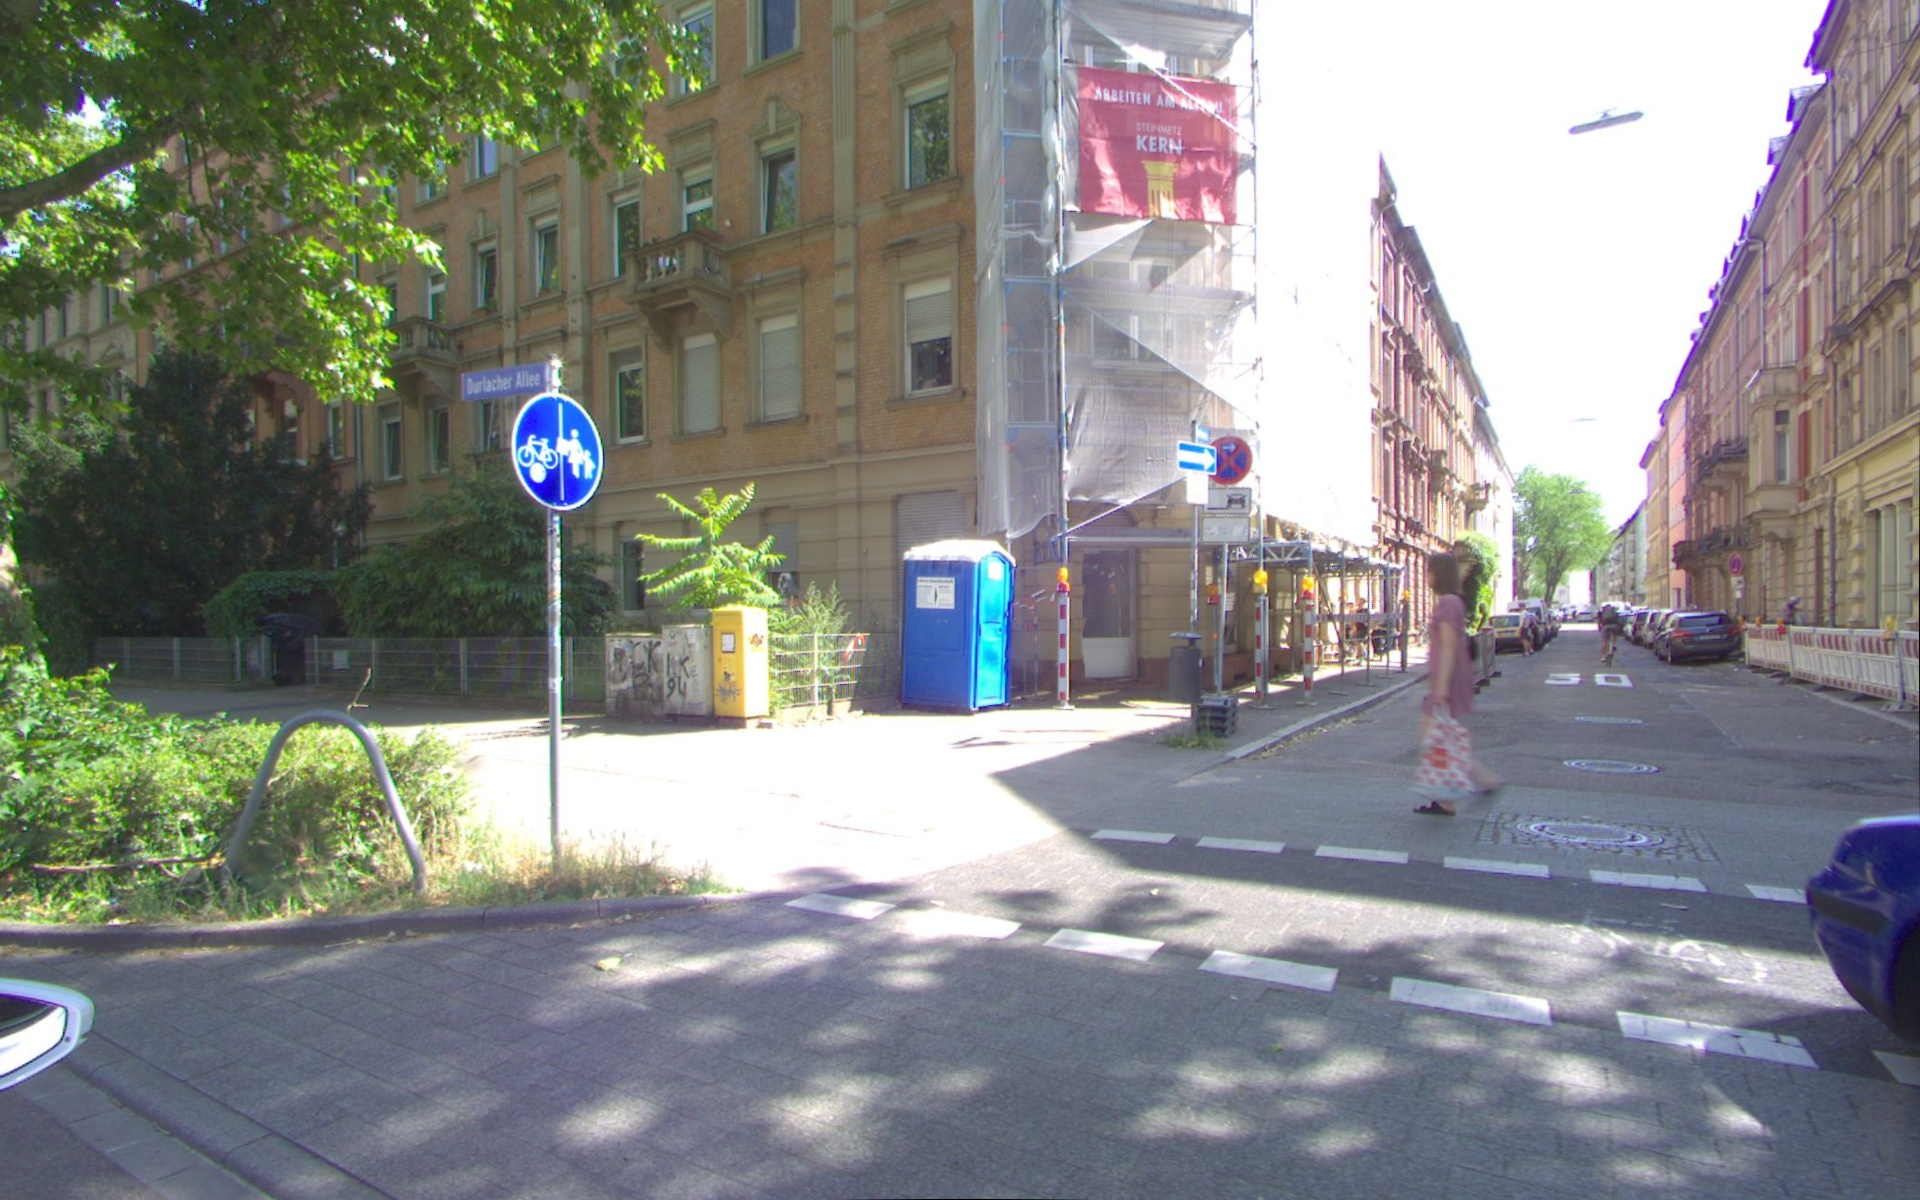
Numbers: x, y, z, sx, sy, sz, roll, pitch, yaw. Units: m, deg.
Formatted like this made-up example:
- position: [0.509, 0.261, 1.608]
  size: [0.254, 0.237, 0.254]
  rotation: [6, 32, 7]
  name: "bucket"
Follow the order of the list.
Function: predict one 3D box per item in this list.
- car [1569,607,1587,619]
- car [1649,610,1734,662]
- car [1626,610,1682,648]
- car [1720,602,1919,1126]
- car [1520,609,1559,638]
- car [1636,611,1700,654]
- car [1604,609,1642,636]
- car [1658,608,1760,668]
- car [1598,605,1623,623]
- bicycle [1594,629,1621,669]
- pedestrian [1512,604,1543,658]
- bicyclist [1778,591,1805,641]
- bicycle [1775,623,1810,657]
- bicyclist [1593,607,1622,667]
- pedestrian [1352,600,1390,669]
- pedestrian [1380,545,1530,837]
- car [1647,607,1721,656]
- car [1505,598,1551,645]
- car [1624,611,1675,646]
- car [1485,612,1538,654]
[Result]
- position: [85.612, 1.799, 138.743]
  size: [1.971, 1.761, 3.980]
  rotation: [-1, -1, 31]
  name: "car"
- position: [24.758, 1.174, 34.011]
  size: [1.971, 1.661, 3.980]
  rotation: [-1, -1, 31]
  name: "car"
- position: [33.491, 1.360, 48.383]
  size: [1.971, 1.761, 3.980]
  rotation: [-1, -1, 31]
  name: "car"
- position: [3.767, 0.691, 1.452]
  size: [1.852, 1.428, 4.091]
  rotation: [0, -1, -10]
  name: "car"
- position: [36.149, 1.427, 62.401]
  size: [1.887, 1.732, 4.139]
  rotation: [-1, -1, 33]
  name: "car"
- position: [30.211, 1.352, 42.837]
  size: [1.971, 1.761, 3.980]
  rotation: [-1, -1, 31]
  name: "car"
- position: [44.768, 1.507, 67.628]
  size: [1.971, 1.761, 3.980]
  rotation: [-1, -1, 31]
  name: "car"
- position: [21.424, 1.042, 28.793]
  size: [1.971, 1.572, 3.980]
  rotation: [-1, -1, 31]
  name: "car"
- position: [65.143, 1.369, 100.326]
  size: [1.971, 1.761, 3.980]
  rotation: [-1, -1, 31]
  name: "car"
- position: [18.141, 1.349, 28.080]
  size: [0.525, 1.062, 1.917]
  rotation: [-1, -1, 29]
  name: "bicycle"
- position: [19.697, 1.072, 34.768]
  size: [0.922, 1.822, 1.034]
  rotation: [-1, 0, 29]
  name: "pedestrian"
- position: [24.634, 0.470, 29.667]
  size: [0.525, 1.472, 0.459]
  rotation: [0, 0, 29]
  name: "bicyclist"
- position: [24.612, 1.170, 29.618]
  size: [0.530, 0.991, 1.304]
  rotation: [-1, -1, 28]
  name: "bicycle"
- position: [18.056, 1.014, 27.932]
  size: [0.615, 1.644, 0.692]
  rotation: [0, 0, 29]
  name: "bicyclist"
- position: [10.649, 0.890, 25.953]
  size: [0.843, 1.748, 0.834]
  rotation: [-1, 0, 19]
  name: "pedestrian"
- position: [3.344, 0.576, 6.749]
  size: [0.840, 1.808, 0.735]
  rotation: [0, 0, 32]
  name: "pedestrian"
- position: [27.429, 1.162, 38.047]
  size: [1.971, 1.761, 3.980]
  rotation: [-1, -1, 31]
  name: "car"
- position: [30.028, 1.116, 52.858]
  size: [1.887, 2.404, 4.224]
  rotation: [-1, -1, 33]
  name: "car"
- position: [36.395, 1.465, 52.950]
  size: [1.971, 1.761, 3.980]
  rotation: [-1, -1, 31]
  name: "car"
- position: [21.290, 1.238, 38.622]
  size: [1.703, 1.549, 3.479]
  rotation: [-1, -1, 31]
  name: "car"
